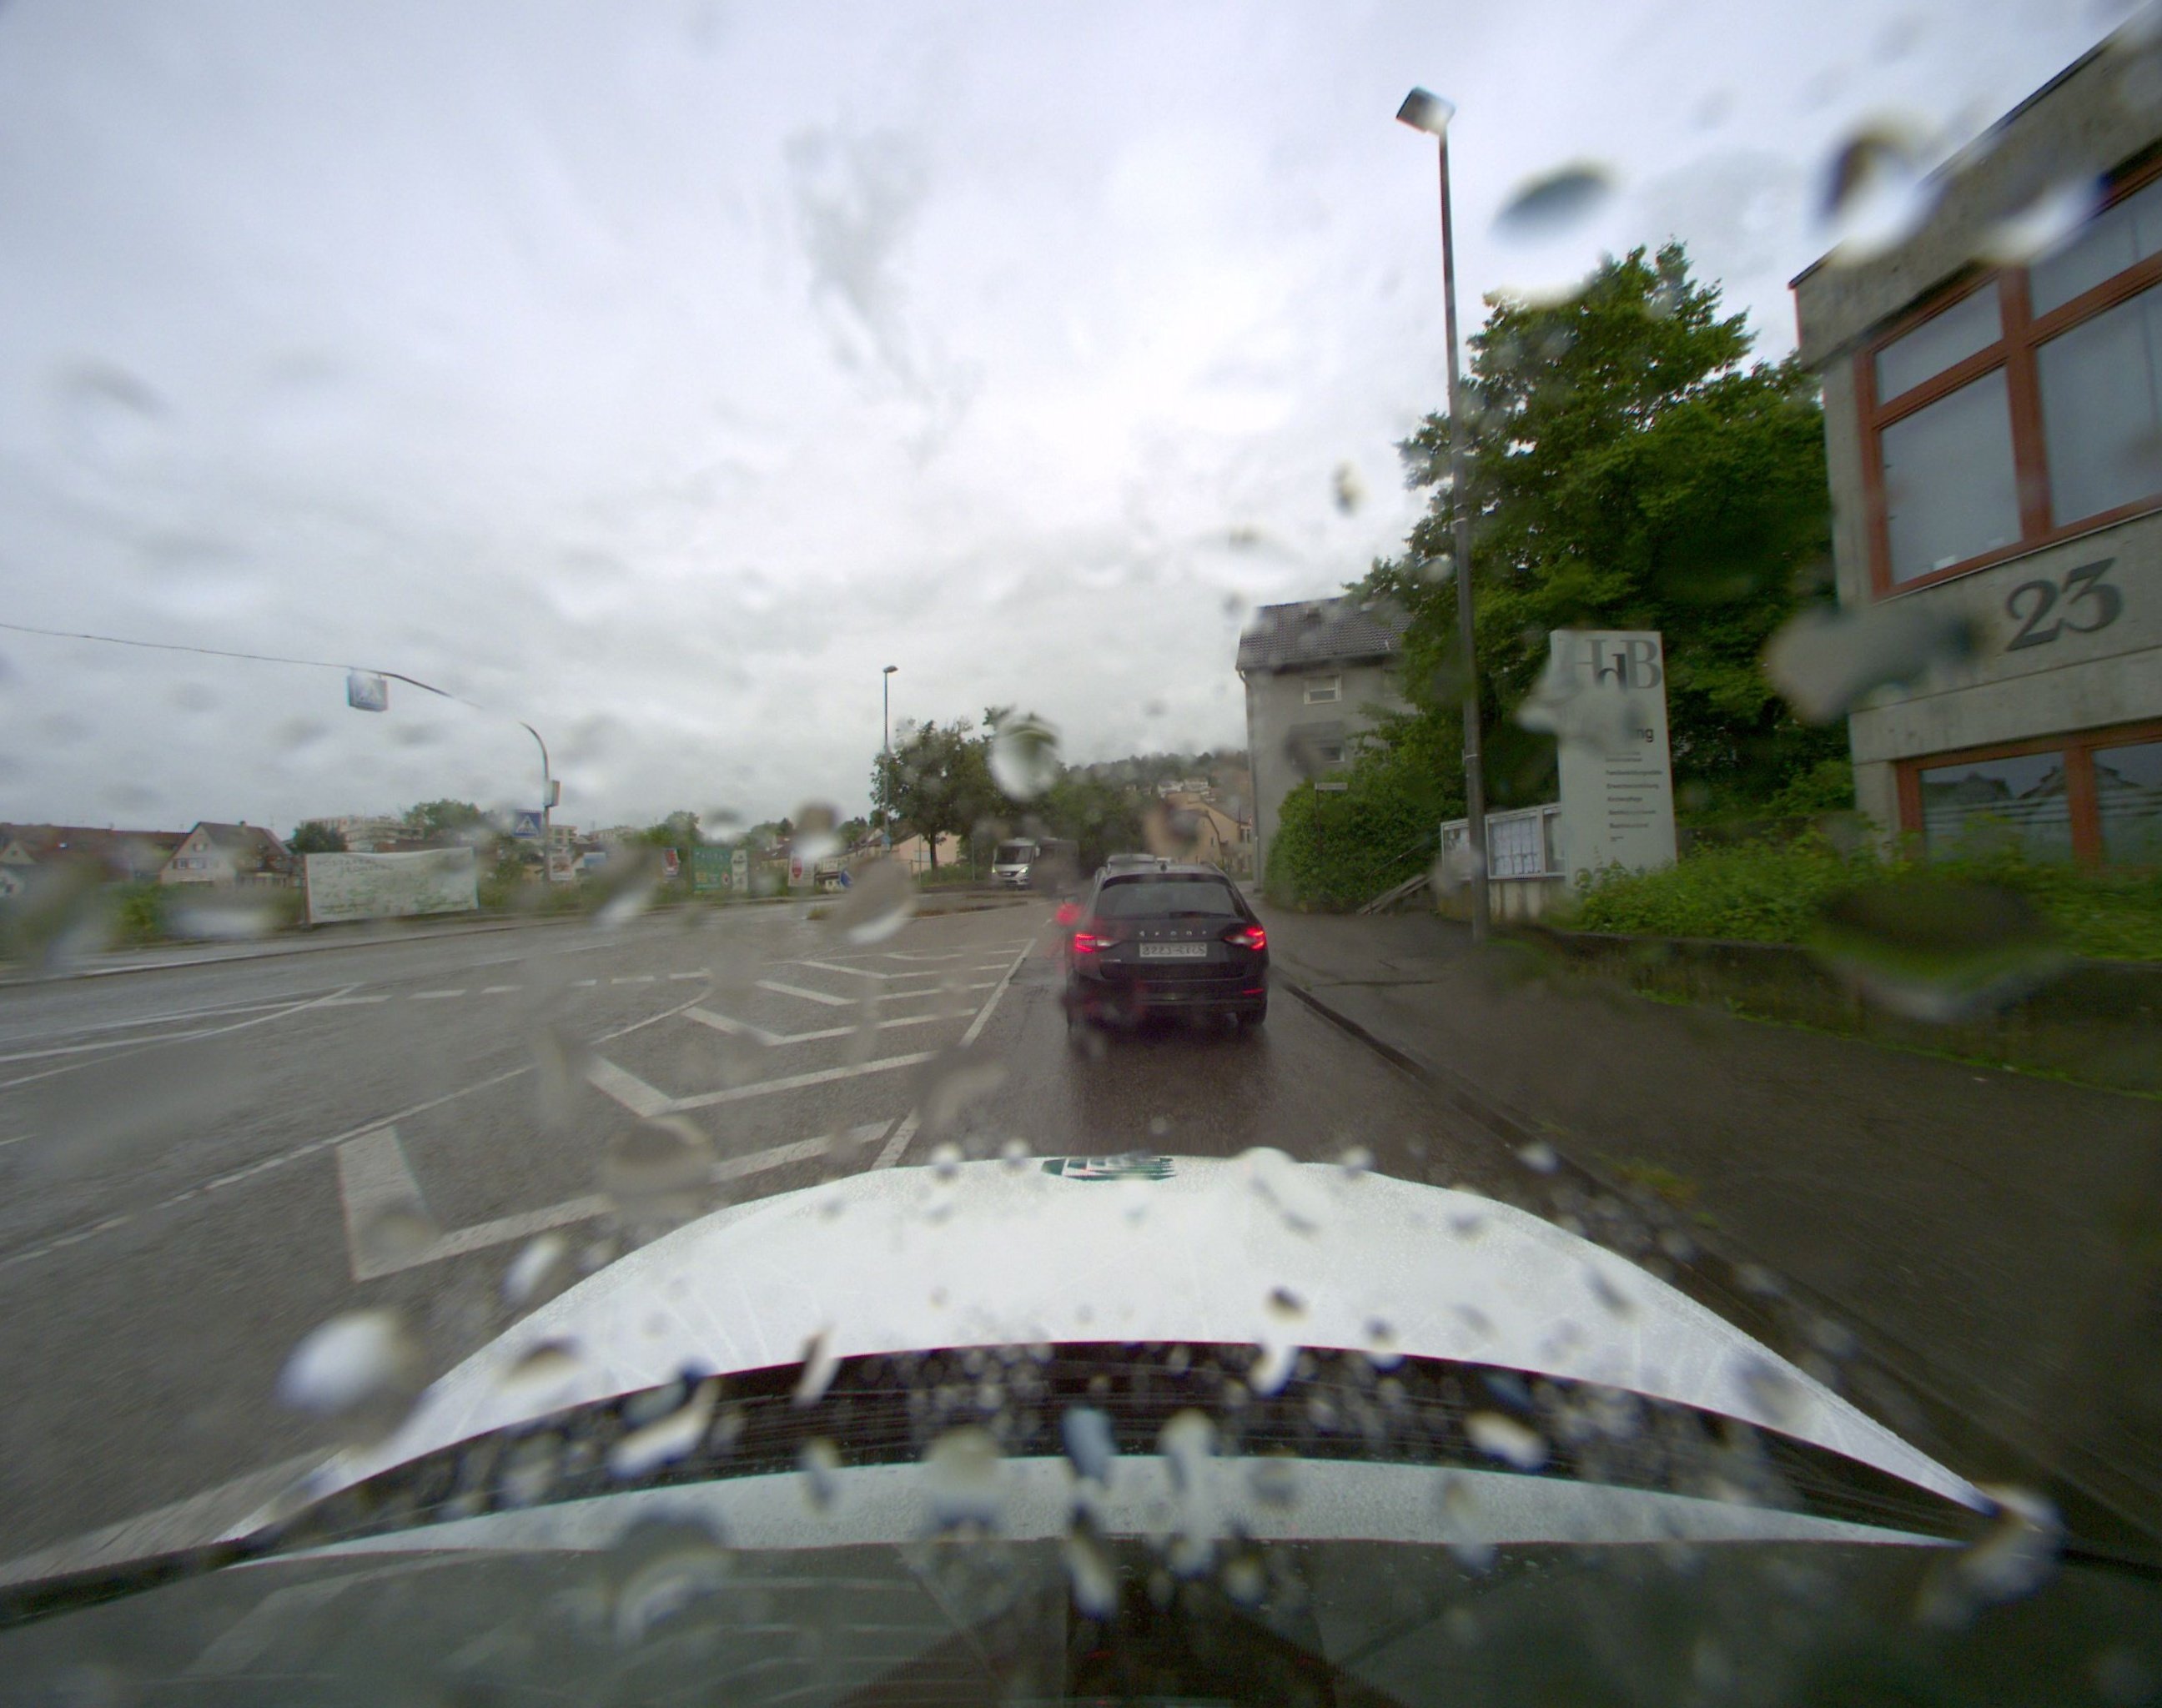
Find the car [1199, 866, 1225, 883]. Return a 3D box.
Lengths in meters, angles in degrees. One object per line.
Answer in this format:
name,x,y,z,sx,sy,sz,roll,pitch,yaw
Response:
car,12.645,1.996,78.492,1.979,1.453,3.785,-4,-1,15

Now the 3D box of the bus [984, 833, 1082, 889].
bus,-2.347,0.301,43.069,2.376,2.676,7.084,-2,0,21

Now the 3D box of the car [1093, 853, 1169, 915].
car,1.408,0.774,22.119,1.820,1.500,4.174,-1,-1,5

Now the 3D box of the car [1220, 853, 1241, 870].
car,17.840,0.953,97.407,1.986,2.014,4.002,0,-1,2

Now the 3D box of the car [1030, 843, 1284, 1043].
car,0.648,0.724,8.590,1.947,1.507,4.609,1,-1,1

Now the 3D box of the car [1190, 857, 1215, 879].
car,9.144,1.059,61.171,1.557,1.530,4.013,-2,0,12

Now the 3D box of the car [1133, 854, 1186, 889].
car,3.546,0.770,36.260,1.836,1.410,4.315,-1,-1,12
